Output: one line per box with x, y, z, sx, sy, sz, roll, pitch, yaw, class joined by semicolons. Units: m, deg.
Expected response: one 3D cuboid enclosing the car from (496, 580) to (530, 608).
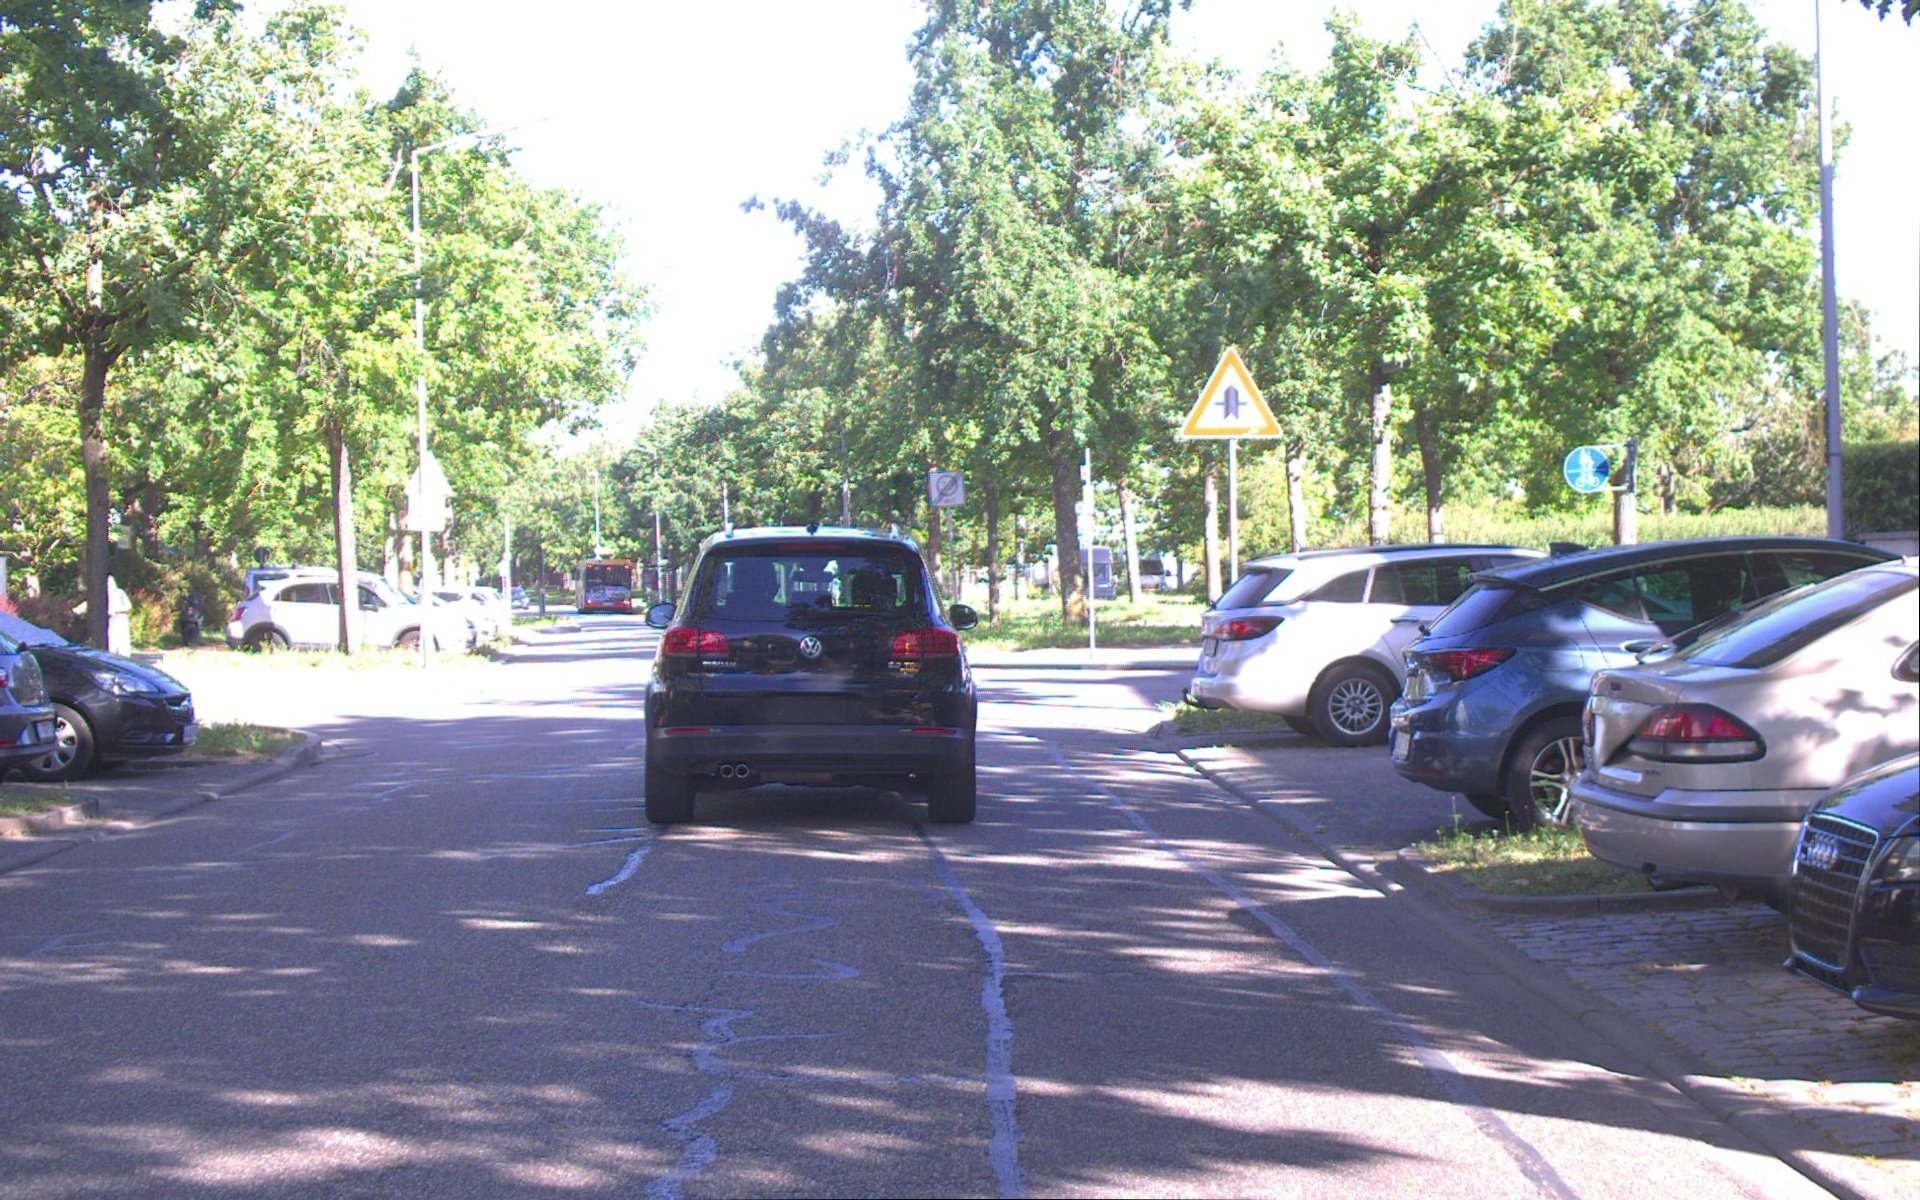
-27.927;-0.390;214.928;1.852;1.687;3.956;-1;0;-5;car

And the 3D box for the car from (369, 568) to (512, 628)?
-15.318;-0.069;101.537;4.015;1.642;1.811;-1;1;-4;car

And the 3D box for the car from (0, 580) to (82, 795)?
-8.178;0.582;23.701;3.818;1.414;1.772;0;1;-2;car

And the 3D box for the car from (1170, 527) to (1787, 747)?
3.901;0.261;26.405;4.428;1.486;1.797;-2;1;0;car

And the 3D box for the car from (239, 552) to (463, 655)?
-11.621;0.047;65.801;4.015;1.833;1.897;-2;1;-4;car

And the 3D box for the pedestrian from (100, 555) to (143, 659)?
-12.742;0.105;52.246;0.441;1.551;0.801;-1;1;-1;pedestrian

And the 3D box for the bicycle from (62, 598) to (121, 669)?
-13.187;0.500;52.210;0.447;1.036;1.893;-1;0;-2;bicycle

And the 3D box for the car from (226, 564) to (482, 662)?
-10.617;0.222;60.491;4.241;1.617;1.897;-1;0;-4;car

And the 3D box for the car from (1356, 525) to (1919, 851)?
4.291;0.390;17.636;4.276;1.498;1.797;-2;1;0;car

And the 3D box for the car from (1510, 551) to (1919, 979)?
4.329;0.511;12.673;4.276;1.409;1.797;-2;1;0;car

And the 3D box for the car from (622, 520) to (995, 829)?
-0.785;0.373;20.231;1.838;1.631;3.958;0;1;3;car

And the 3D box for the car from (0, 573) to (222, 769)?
-7.848;0.531;26.686;3.857;1.454;1.713;0;1;0;car

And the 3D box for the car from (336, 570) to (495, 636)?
-14.433;0.072;91.253;4.015;1.642;1.811;-1;0;-4;car

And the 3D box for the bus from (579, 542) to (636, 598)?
-19.477;-1.626;190.101;2.928;2.993;5.738;-1;0;-4;bus

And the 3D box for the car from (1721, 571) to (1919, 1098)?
4.599;0.540;9.907;4.346;1.358;1.873;-2;0;0;car

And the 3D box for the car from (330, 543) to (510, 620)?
-12.682;-0.449;80.919;4.015;1.642;1.811;-2;1;-4;car
